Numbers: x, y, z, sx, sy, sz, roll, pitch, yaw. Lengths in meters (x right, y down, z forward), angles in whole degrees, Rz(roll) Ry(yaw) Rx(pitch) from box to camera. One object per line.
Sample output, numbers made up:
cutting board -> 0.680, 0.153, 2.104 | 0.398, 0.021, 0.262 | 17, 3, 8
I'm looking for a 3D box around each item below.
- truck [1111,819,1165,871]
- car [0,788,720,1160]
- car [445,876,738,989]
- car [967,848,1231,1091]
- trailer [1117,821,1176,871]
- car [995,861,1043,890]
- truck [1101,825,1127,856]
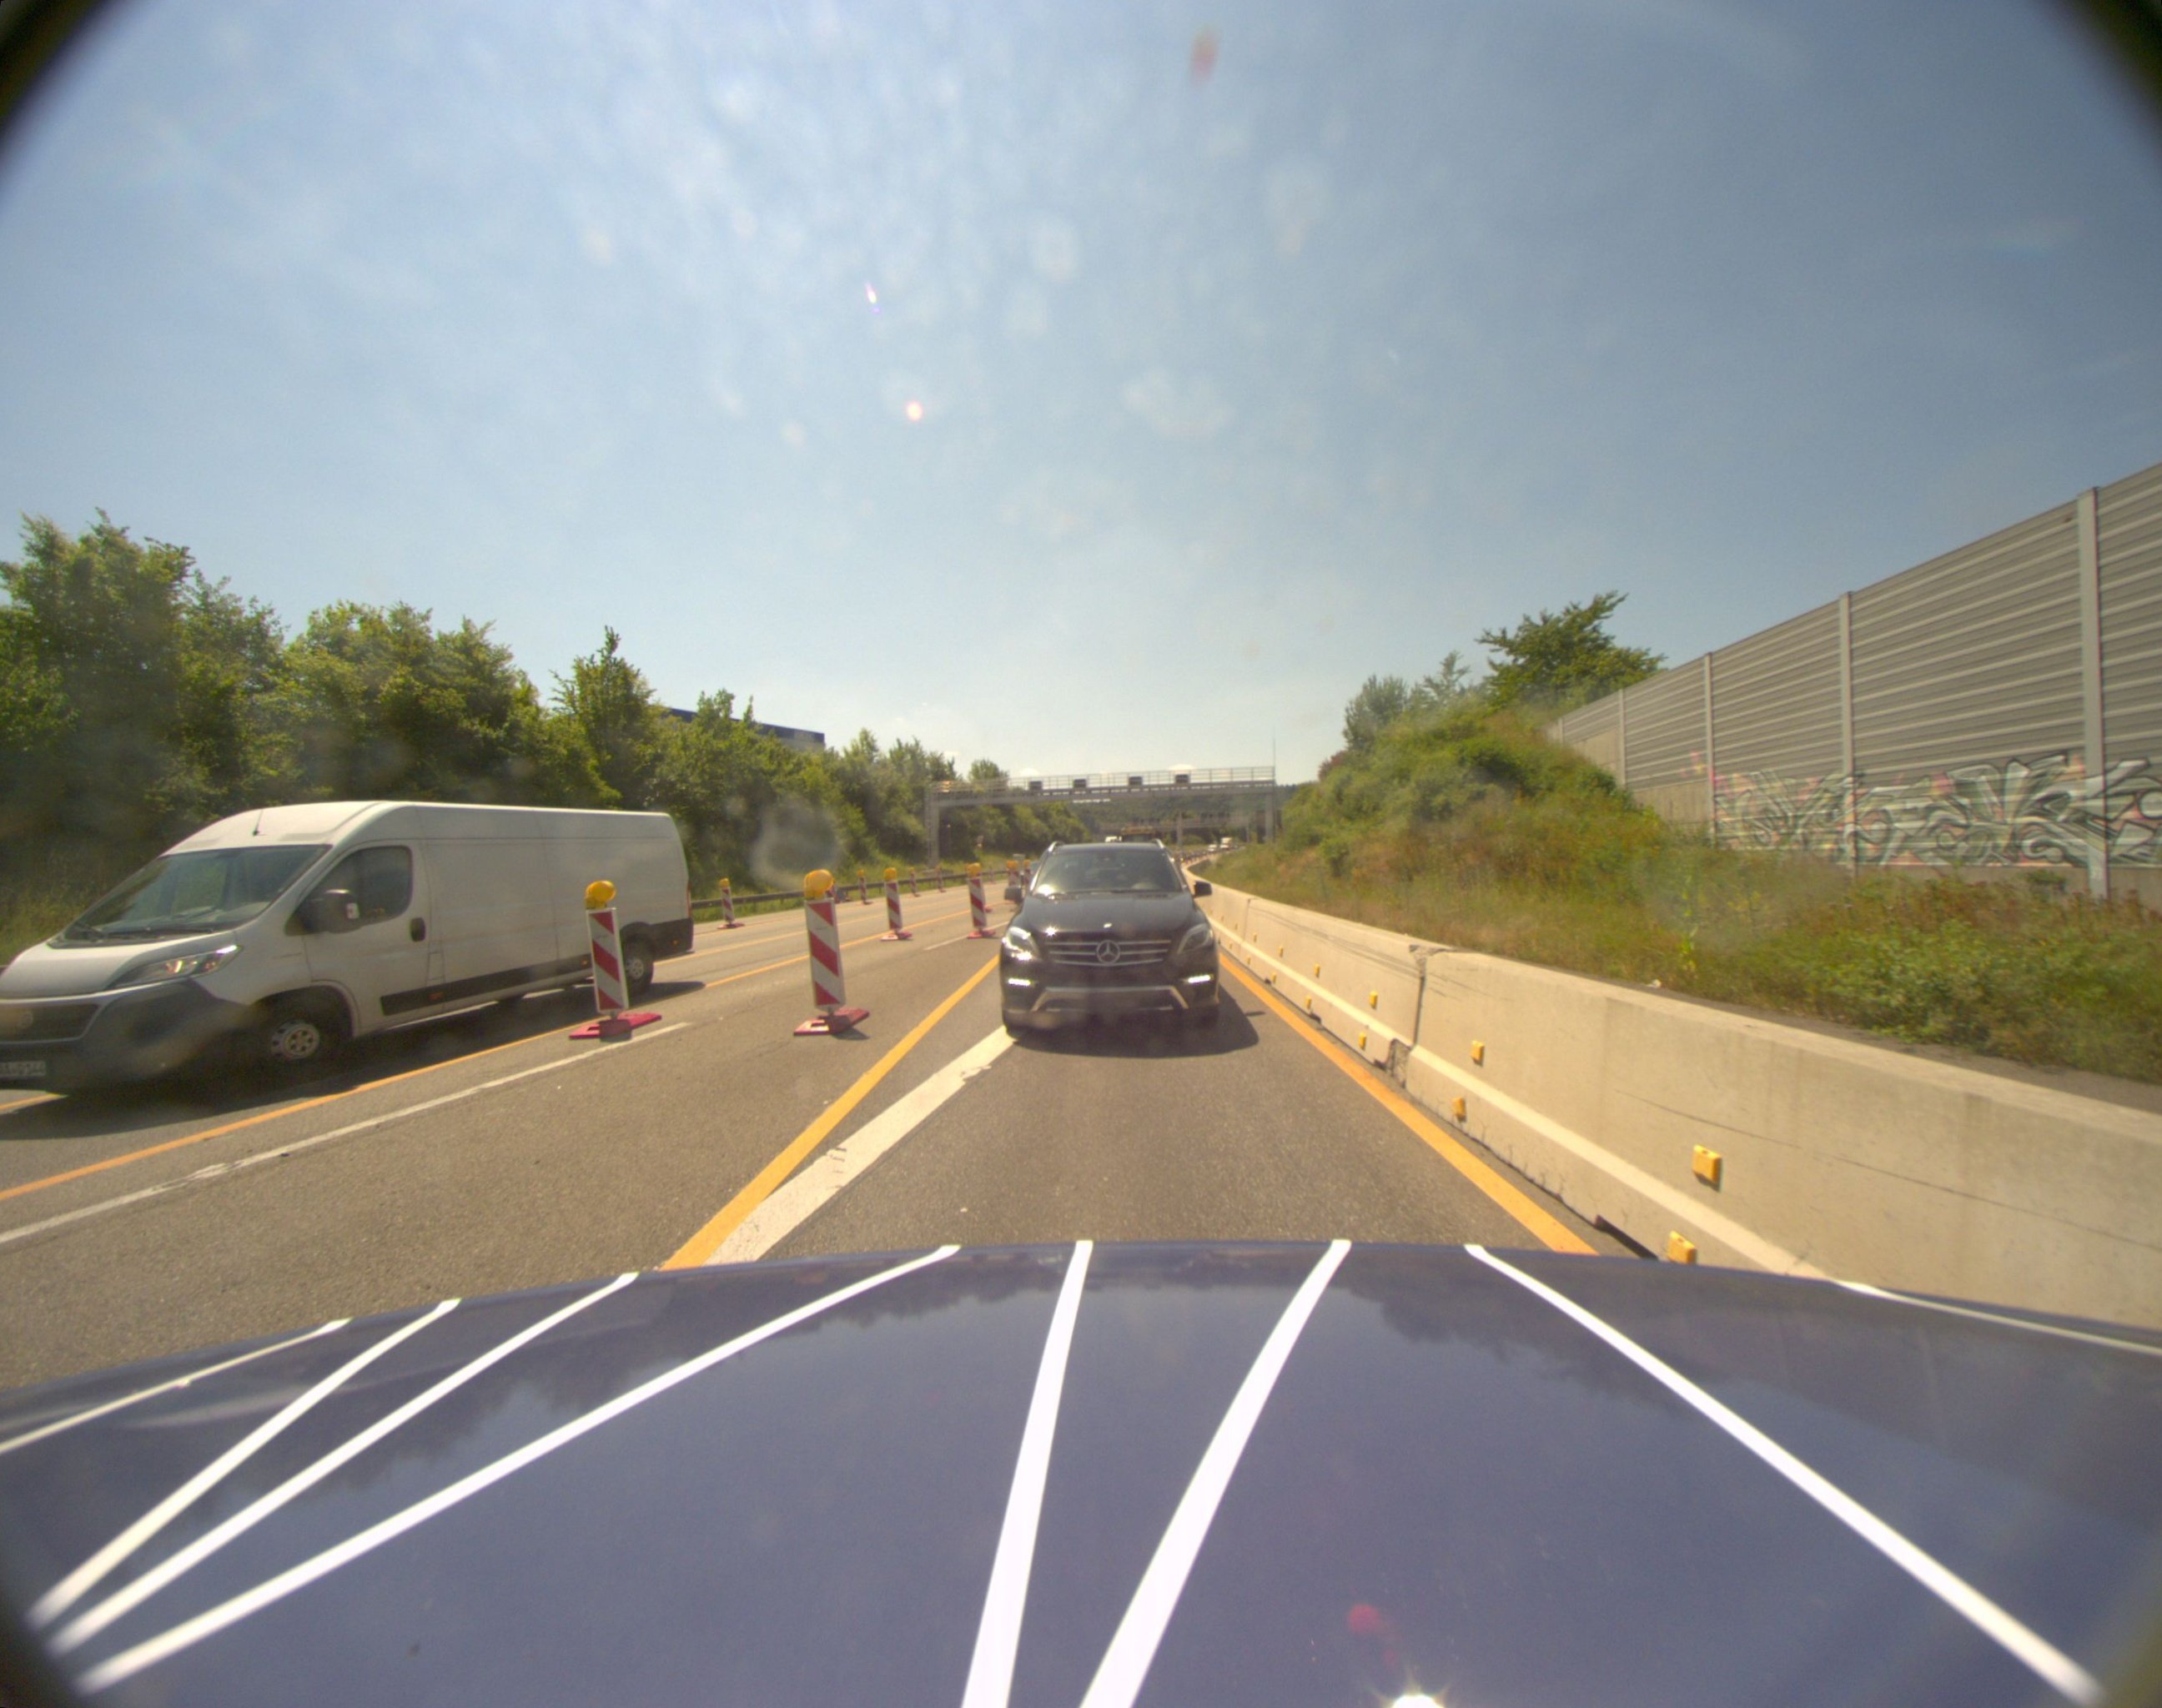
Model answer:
truck -> 4.501, -0.617, 58.874 | 3.227, 3.639, 7.089 | -3, -1, 11
car -> -7.163, 0.835, 8.540 | 2.270, 2.521, 6.588 | -2, 0, 8
car -> -9.506, 1.420, 15.492 | 2.023, 1.653, 5.240 | -2, 0, 8
car -> 0.370, 0.833, 7.710 | 1.819, 1.685, 4.495 | -3, 0, 6
trailer -> 6.088, -0.597, 67.298 | 3.234, 3.645, 17.437 | -3, -1, 11
car -> -3.507, 1.181, 43.767 | 1.998, 1.477, 4.679 | -3, 0, 4
truck -> 4.511, -1.783, 102.639 | 2.532, 3.927, 5.603 | -3, 0, 10
